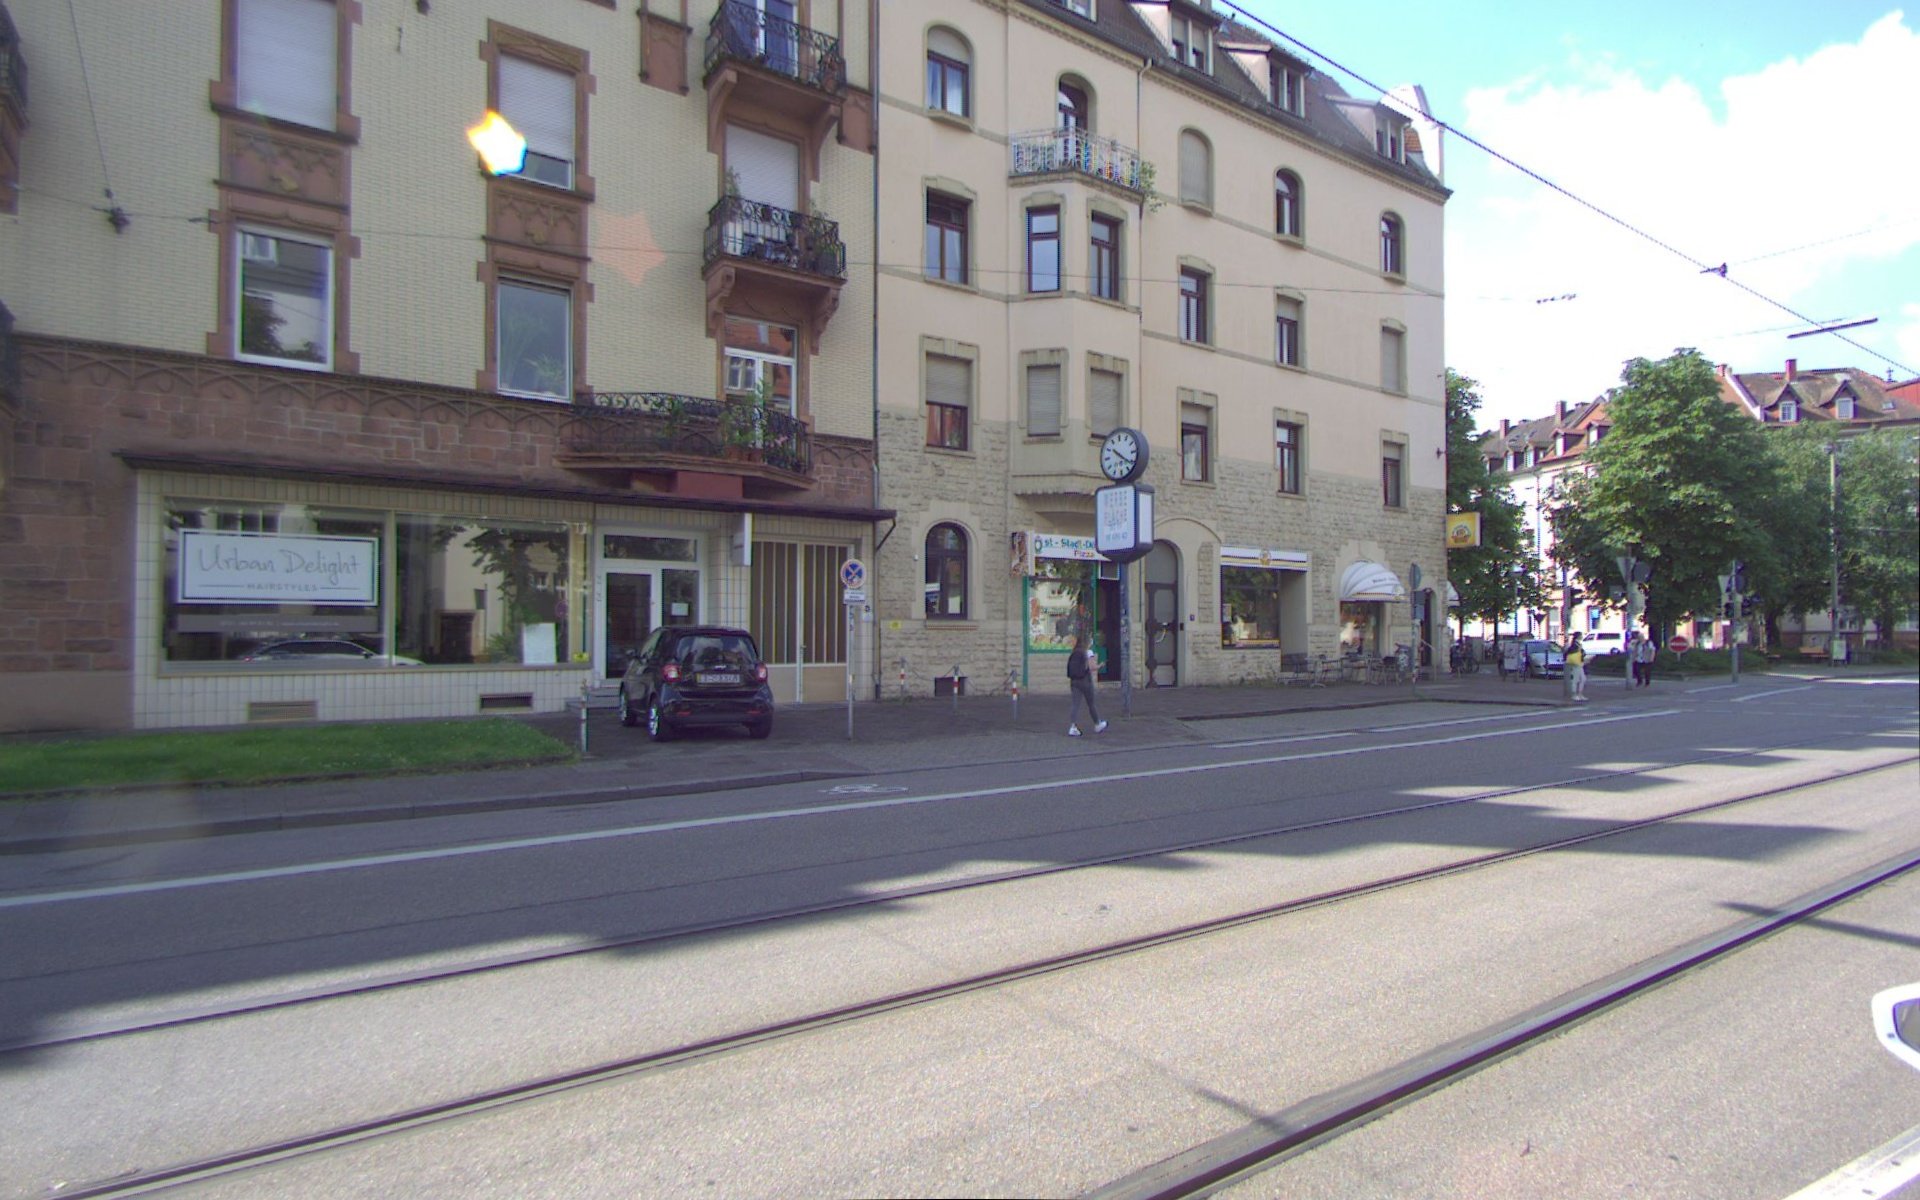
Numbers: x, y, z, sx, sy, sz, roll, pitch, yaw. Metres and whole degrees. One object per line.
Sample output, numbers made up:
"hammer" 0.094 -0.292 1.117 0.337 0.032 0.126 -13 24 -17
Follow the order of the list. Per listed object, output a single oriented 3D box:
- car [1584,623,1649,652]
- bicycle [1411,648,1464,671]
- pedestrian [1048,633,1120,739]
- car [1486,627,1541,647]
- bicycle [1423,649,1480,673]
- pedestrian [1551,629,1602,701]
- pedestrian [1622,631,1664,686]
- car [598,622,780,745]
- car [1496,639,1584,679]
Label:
"car" 48.257 2.739 73.912 1.823 2.015 3.942 0 -2 -10
"bicycle" 20.587 2.561 43.355 1.990 0.894 0.512 1 -2 13
"pedestrian" 1.980 1.344 16.016 0.685 1.562 0.959 4 2 38
"car" 46.028 3.073 83.621 1.882 1.685 3.934 0 -2 -11
"bicycle" 19.969 2.481 40.843 1.990 0.894 0.523 1 -2 13
"pedestrian" 15.720 1.641 25.625 0.865 1.727 0.751 1 2 -34
"pedestrian" 21.525 1.831 31.659 0.813 1.694 0.850 1 -2 -32
"car" -4.110 1.127 14.886 1.687 1.506 3.425 1 0 -32
"car" 22.134 2.223 38.498 1.686 1.439 3.876 0 -2 10
